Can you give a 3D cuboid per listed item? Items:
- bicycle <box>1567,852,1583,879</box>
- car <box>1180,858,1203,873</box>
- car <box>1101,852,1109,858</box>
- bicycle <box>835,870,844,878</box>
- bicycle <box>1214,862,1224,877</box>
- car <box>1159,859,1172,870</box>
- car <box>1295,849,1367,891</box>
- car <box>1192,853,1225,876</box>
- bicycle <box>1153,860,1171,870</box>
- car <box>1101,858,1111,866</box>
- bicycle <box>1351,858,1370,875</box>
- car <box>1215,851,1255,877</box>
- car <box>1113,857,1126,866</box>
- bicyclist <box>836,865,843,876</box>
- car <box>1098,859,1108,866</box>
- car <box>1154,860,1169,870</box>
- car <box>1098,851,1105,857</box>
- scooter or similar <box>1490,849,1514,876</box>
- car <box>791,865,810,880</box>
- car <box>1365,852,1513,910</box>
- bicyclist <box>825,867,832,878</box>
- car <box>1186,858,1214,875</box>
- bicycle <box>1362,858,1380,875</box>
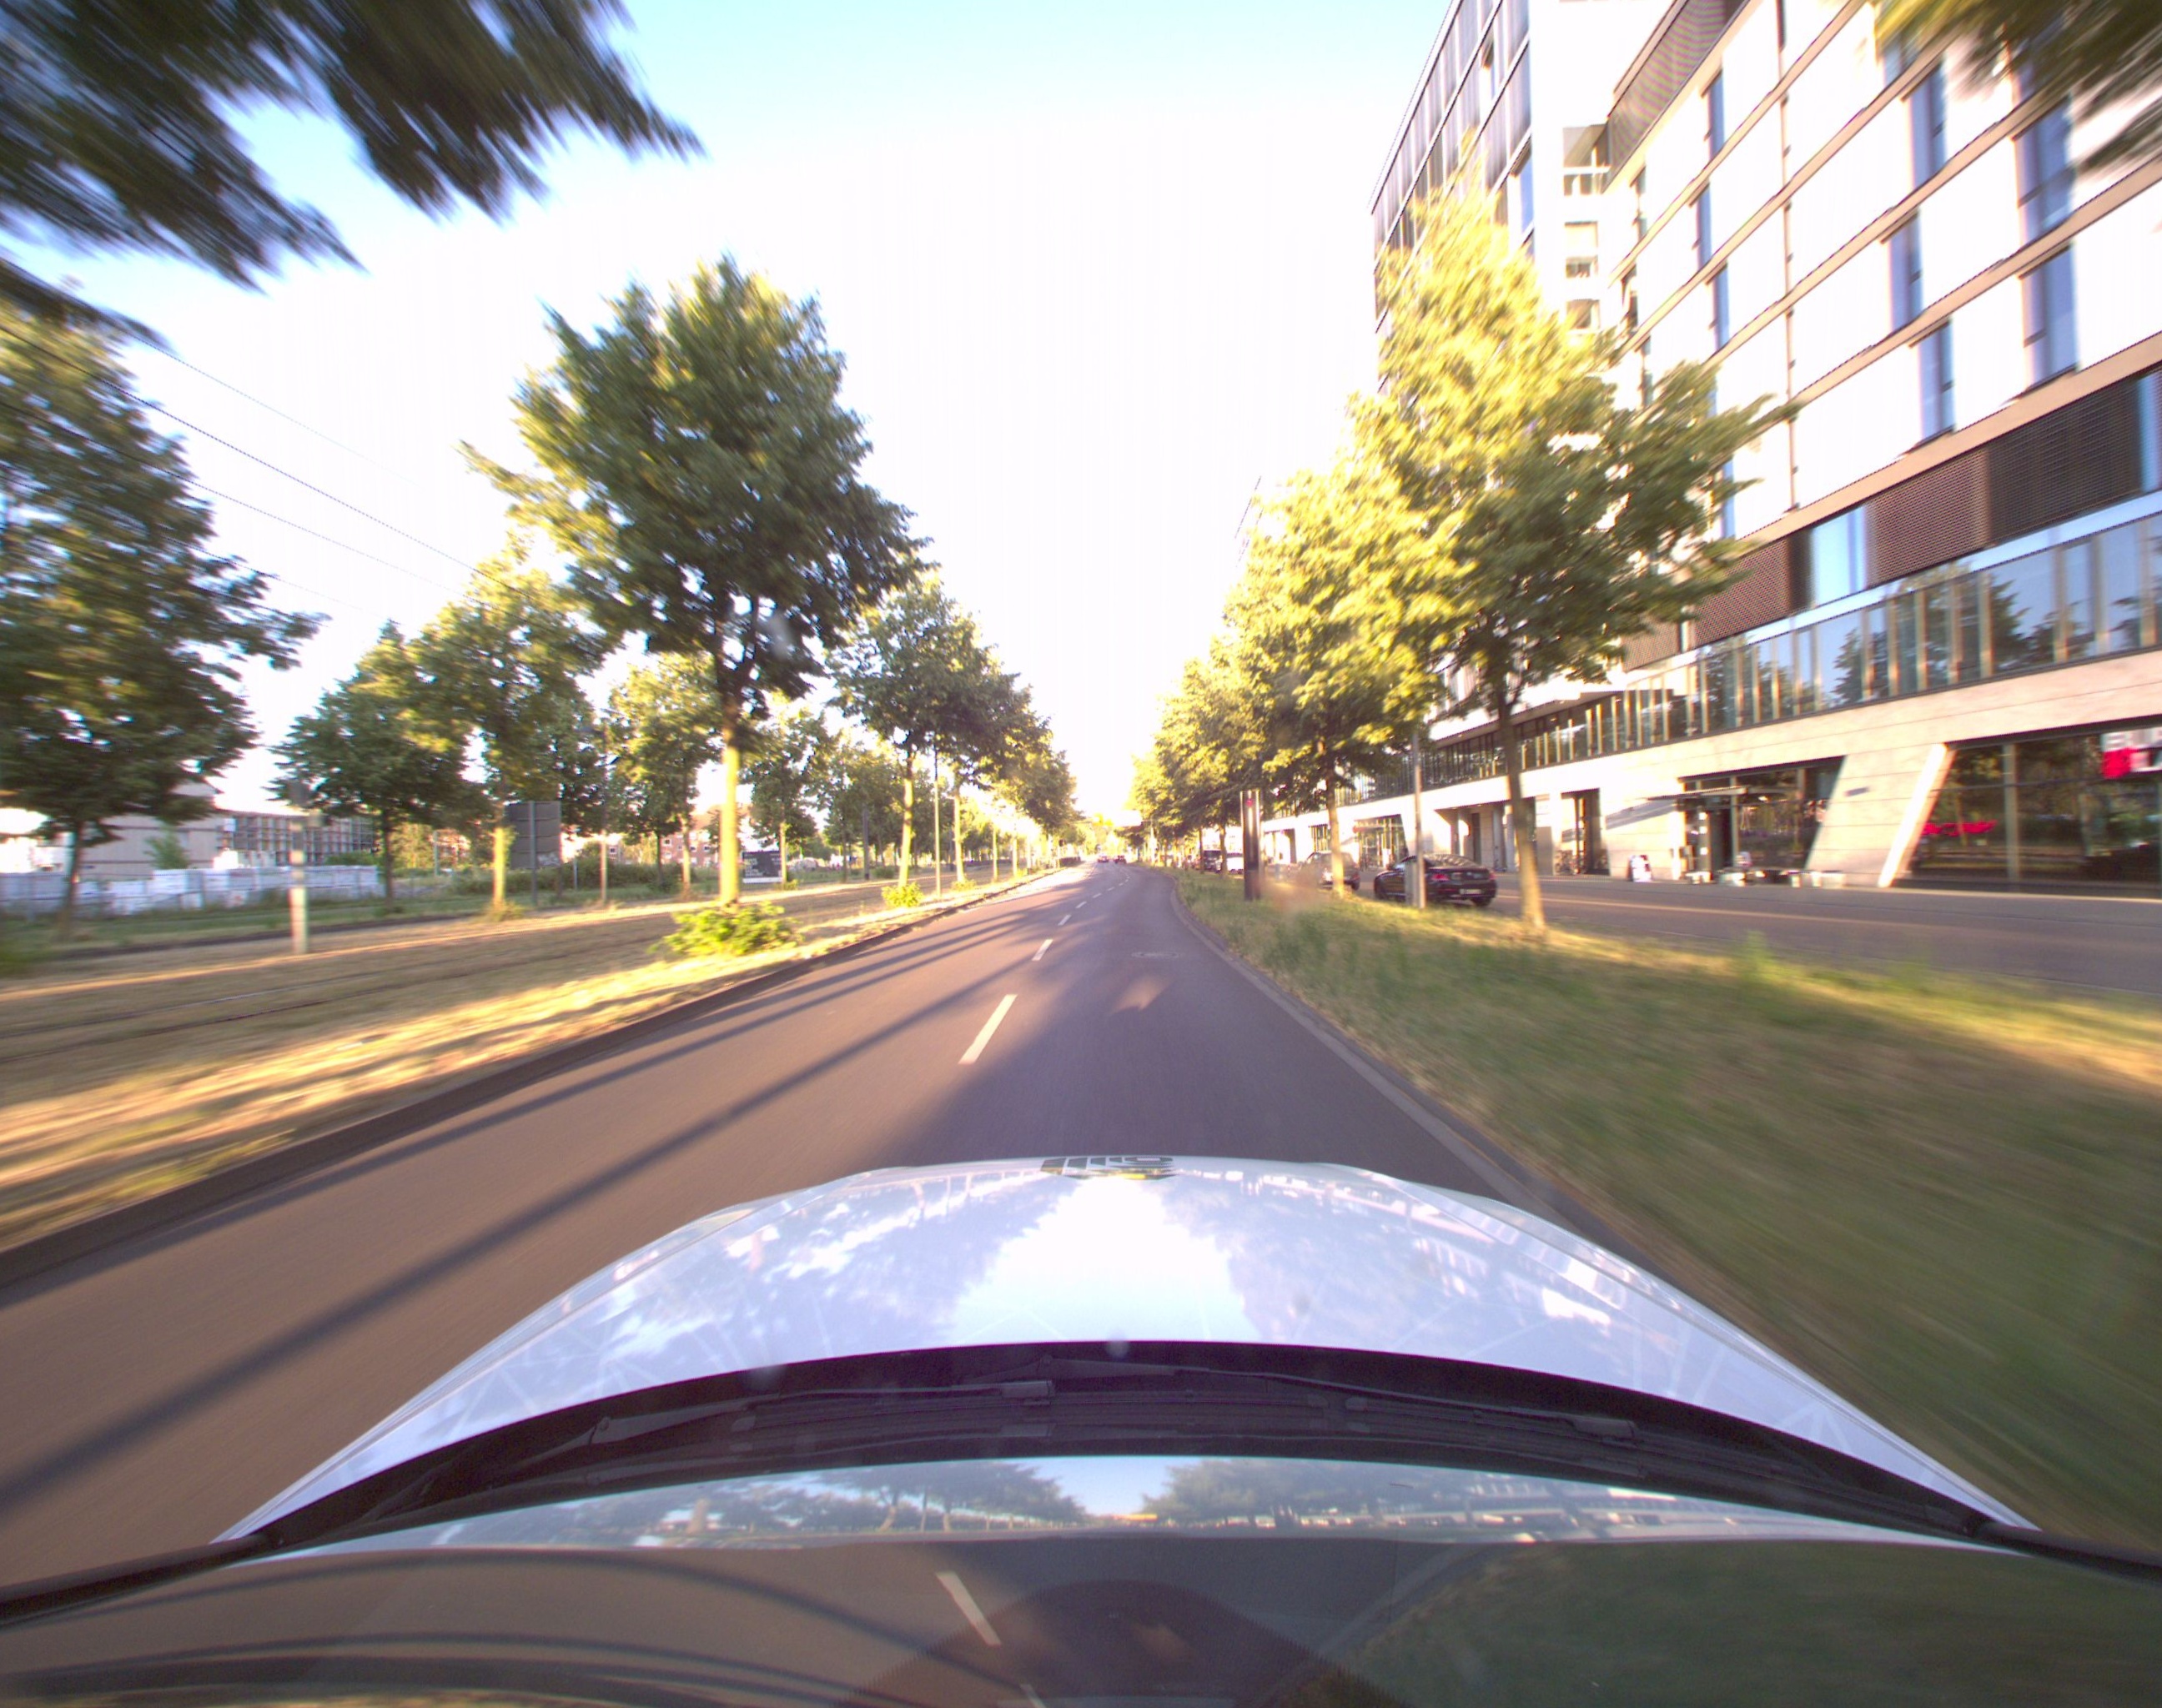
[{"bbox_3d":[19.636,0.461,32.386,0.449,1.028,1.402,-2,-1,28],"label":"bicycle"},{"bbox_3d":[11.066,1.171,82.021,1.861,1.411,4.648,-2,-1,2],"label":"car"},{"bbox_3d":[5.939,0.256,202.227,1.905,1.486,4.000,-2,-1,1],"label":"car"},{"bbox_3d":[-32.649,2.666,109.993,0.617,1.011,2.082,-2,-1,0],"label":"bicycle"},{"bbox_3d":[7.868,0.898,46.511,0.314,0.823,1.553,-2,-1,3],"label":"bicycle"},{"bbox_3d":[11.951,1.509,115.148,1.569,1.472,3.883,-2,-1,2],"label":"car"},{"bbox_3d":[9.734,0.595,31.920,1.704,1.515,3.759,0,0,0],"label":"car"},{"bbox_3d":[10.766,0.858,69.010,1.987,1.852,4.663,-2,-1,-1],"label":"car"},{"bbox_3d":[9.118,1.271,92.178,1.944,1.054,0.542,2,-1,-14],"label":"bicycle"},{"bbox_3d":[4.879,1.566,159.140,1.905,1.486,4.000,-2,-1,1],"label":"car"},{"bbox_3d":[17.134,0.763,49.940,0.592,1.039,1.893,-2,0,2],"label":"bicycle"},{"bbox_3d":[10.618,0.698,56.609,1.986,1.642,4.881,-2,-1,2],"label":"car"},{"bbox_3d":[6.558,1.253,138.877,1.905,1.486,4.000,-1,-1,1],"label":"car"},{"bbox_3d":[-32.668,2.244,110.002,0.617,1.456,0.937,-2,-1,-1],"label":"bicyclist"},{"bbox_3d":[4.398,1.736,166.066,1.905,1.486,4.000,-2,-1,1],"label":"car"},{"bbox_3d":[12.060,1.592,121.907,1.772,1.472,4.287,-2,-1,0],"label":"car"},{"bbox_3d":[5.397,-0.080,217.713,1.905,1.486,4.000,-2,-1,1],"label":"car"},{"bbox_3d":[19.823,0.405,38.372,0.470,1.211,1.229,-2,-1,3],"label":"scooter or similar"},{"bbox_3d":[-42.966,2.855,124.798,2.425,2.224,5.873,-1,-1,-22],"label":"car"},{"bbox_3d":[9.506,0.658,22.142,1.847,1.367,4.833,-2,0,0],"label":"car"},{"bbox_3d":[-33.373,2.501,107.468,0.617,1.421,0.937,-2,-1,-1],"label":"bicyclist"},{"bbox_3d":[10.949,1.127,75.287,1.804,1.471,4.663,-2,-1,-1],"label":"car"},{"bbox_3d":[17.690,0.759,49.658,0.468,1.039,1.808,-2,0,2],"label":"bicycle"}]
